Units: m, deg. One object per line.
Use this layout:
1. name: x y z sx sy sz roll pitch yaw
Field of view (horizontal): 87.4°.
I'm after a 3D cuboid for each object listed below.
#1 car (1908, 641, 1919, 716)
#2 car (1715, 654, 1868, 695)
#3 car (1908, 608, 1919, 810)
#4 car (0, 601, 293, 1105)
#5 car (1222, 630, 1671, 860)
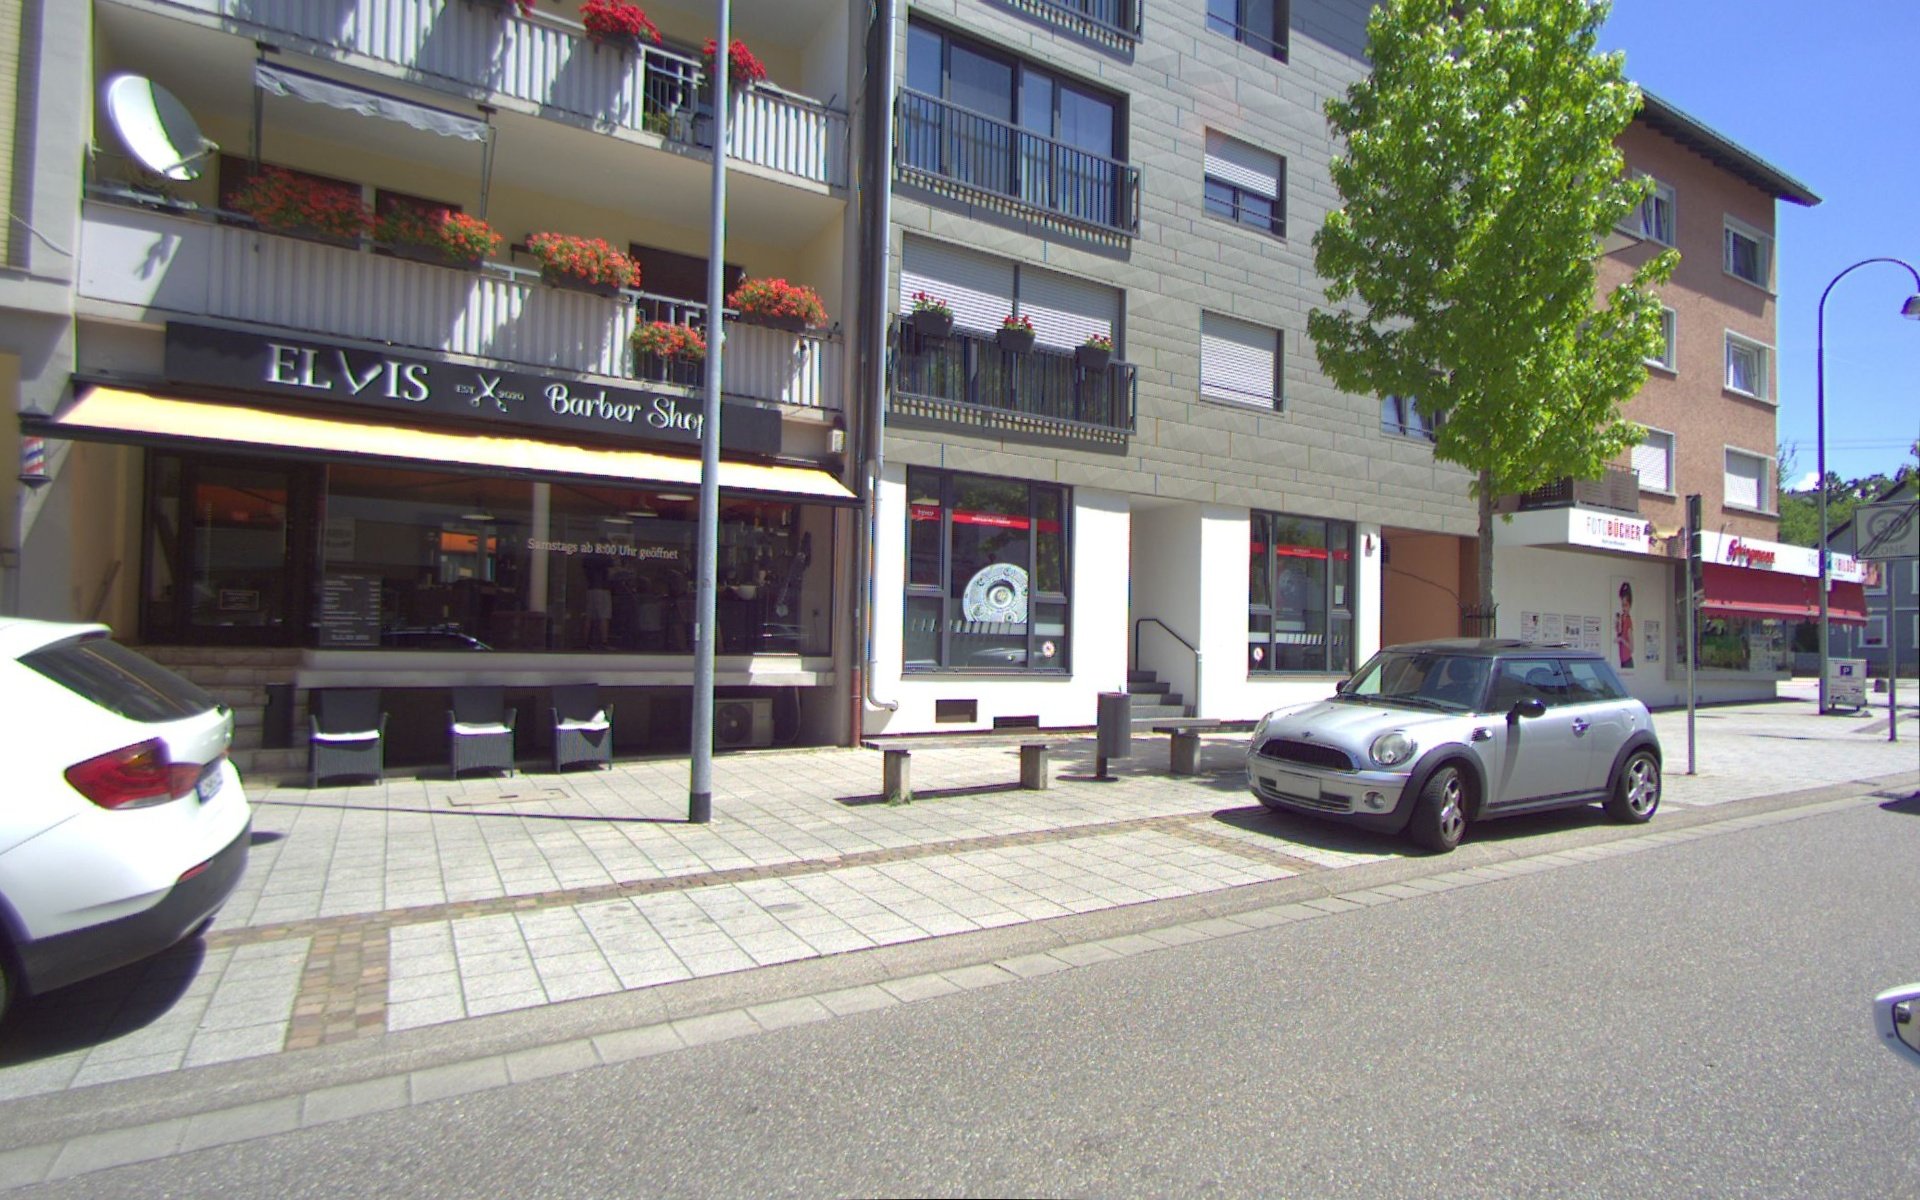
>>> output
1. car: 21.378 1.667 20.833 4.019 1.506 1.656 2 0 -34
2. car: 33.347 2.955 40.412 1.747 1.476 4.405 1 -3 -29
3. car: 10.937 0.990 9.443 4.707 1.776 1.890 2 -4 -34
4. car: -4.817 0.783 3.252 4.248 1.613 1.687 2 -1 -29
5. car: 3.976 1.015 8.124 3.507 1.493 1.614 2 -2 -30
